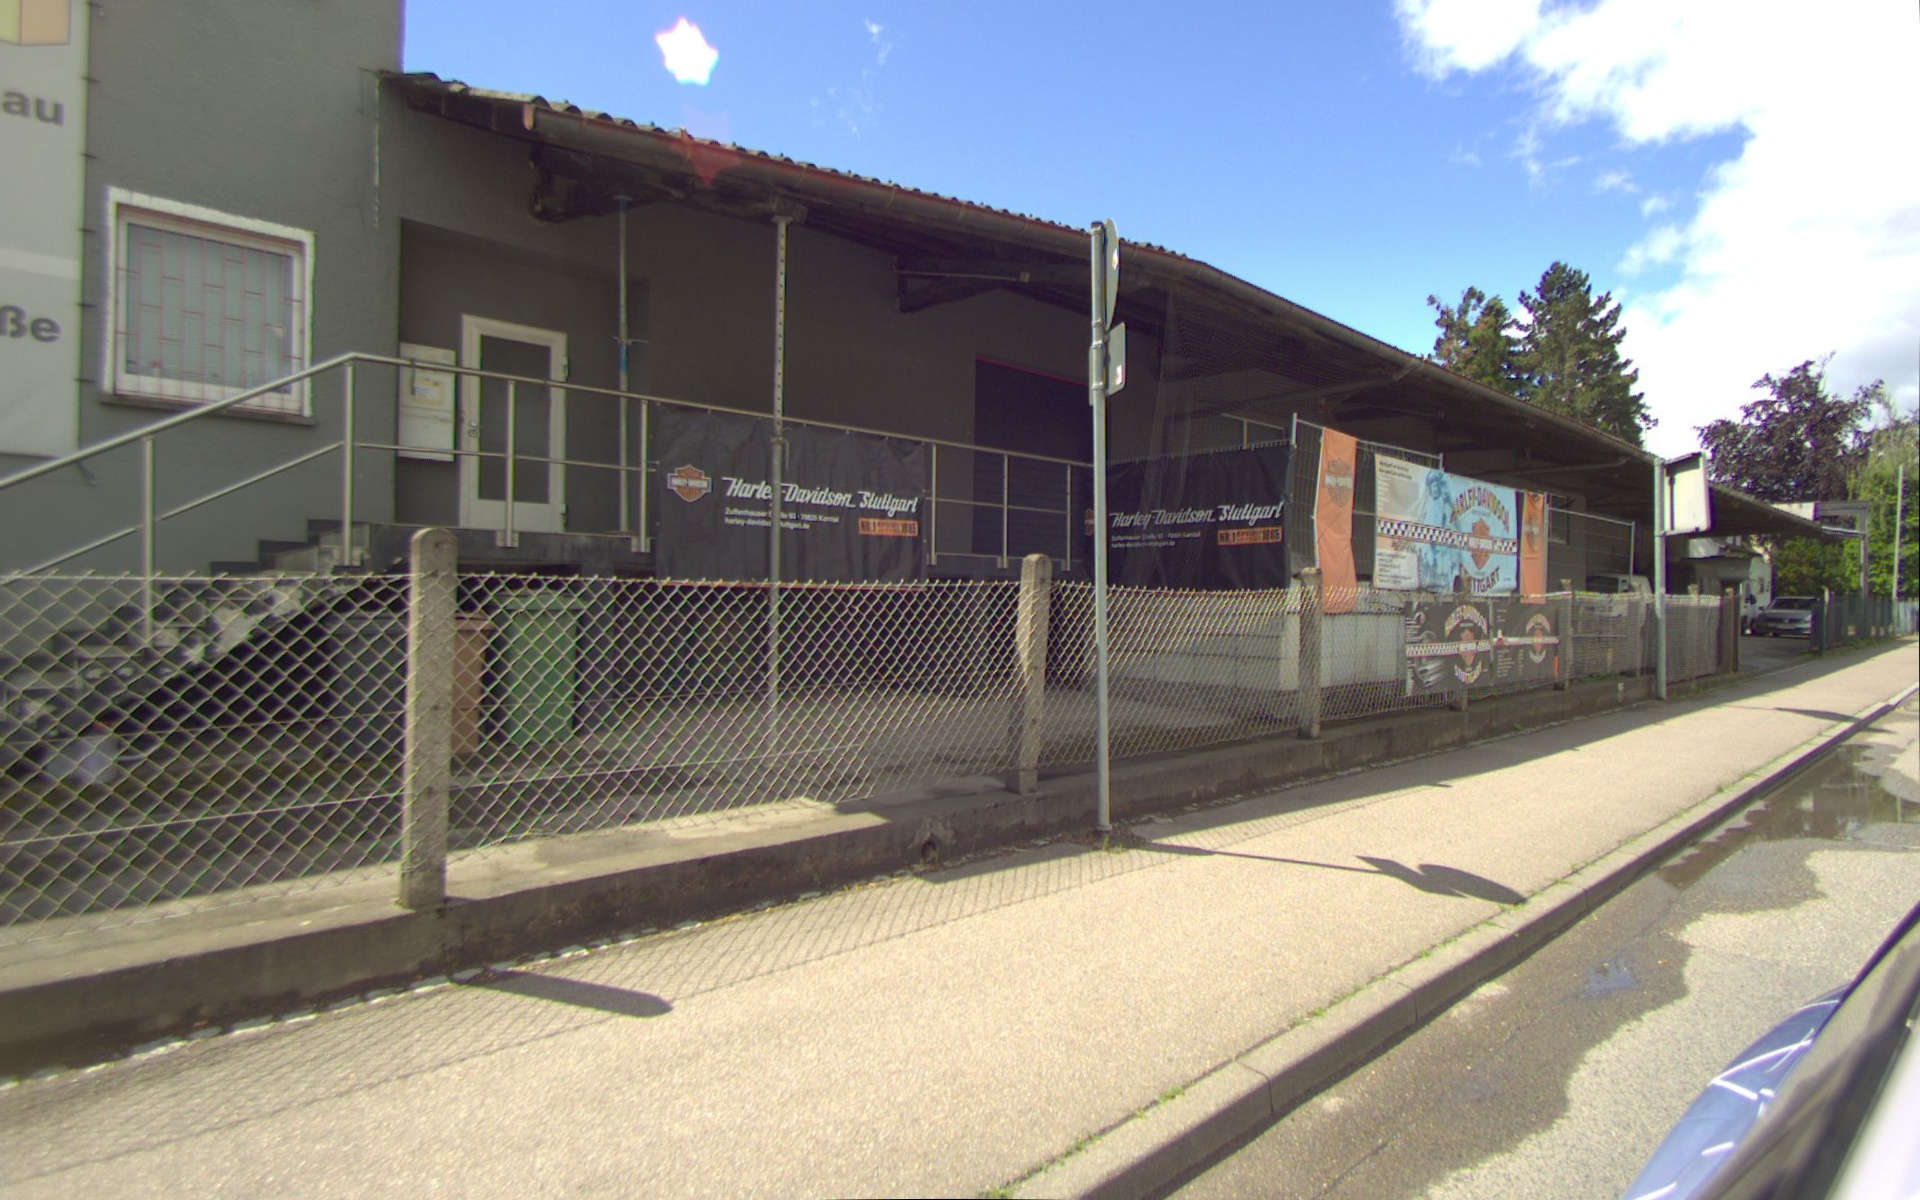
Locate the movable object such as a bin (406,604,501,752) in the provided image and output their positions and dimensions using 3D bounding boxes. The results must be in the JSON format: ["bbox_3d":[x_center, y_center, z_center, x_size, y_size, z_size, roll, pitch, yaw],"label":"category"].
[{"bbox_3d":[-3.436,0.505,6.858,0.466,0.942,0.482,0,0,-42],"label":"movable object such as a bin"}]

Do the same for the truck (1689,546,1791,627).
[{"bbox_3d":[29.518,-0.502,38.226,5.112,2.864,2.089,-1,0,-41],"label":"truck"}]

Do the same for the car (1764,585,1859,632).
[{"bbox_3d":[29.865,0.237,35.437,5.114,1.549,1.860,-1,1,-42],"label":"car"}]

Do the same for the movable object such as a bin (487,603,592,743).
[{"bbox_3d":[-3.012,0.499,7.250,0.574,0.942,0.482,0,0,-42],"label":"movable object such as a bin"}]

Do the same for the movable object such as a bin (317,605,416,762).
[{"bbox_3d":[-3.819,0.510,6.508,0.466,0.942,0.482,0,0,-42],"label":"movable object such as a bin"}]
